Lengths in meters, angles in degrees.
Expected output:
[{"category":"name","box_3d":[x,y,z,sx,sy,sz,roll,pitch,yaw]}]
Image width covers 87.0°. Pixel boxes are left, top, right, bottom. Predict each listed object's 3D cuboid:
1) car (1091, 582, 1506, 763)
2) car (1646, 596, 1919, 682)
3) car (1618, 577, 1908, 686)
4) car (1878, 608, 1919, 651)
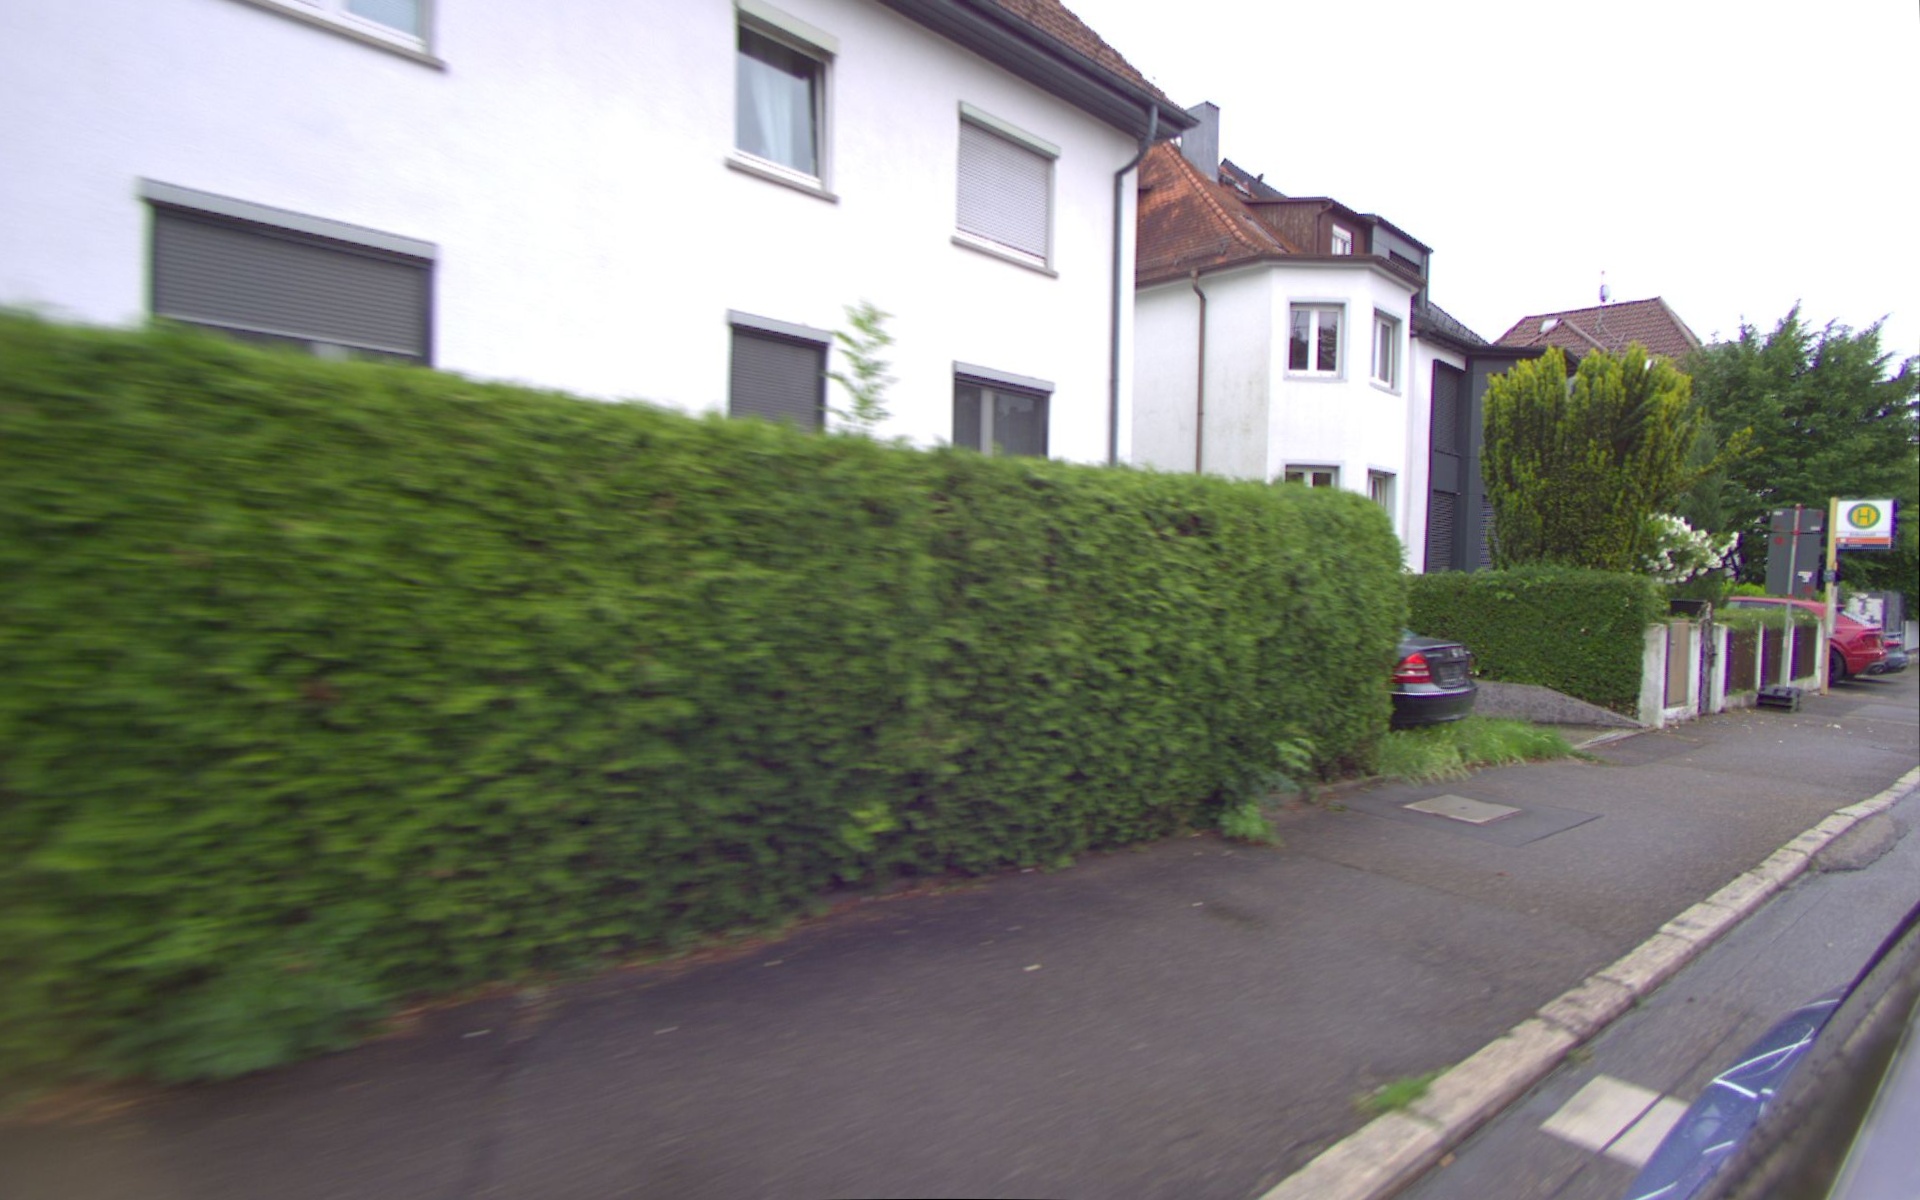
[{"category":"car","box_3d":[3.329,0.616,10.490,1.588,1.405,3.751,3,0,-41]},{"category":"car","box_3d":[18.008,0.772,22.226,4.550,1.434,1.968,5,3,45]},{"category":"car","box_3d":[15.795,0.540,20.222,4.042,1.772,1.985,4,2,23]},{"category":"car","box_3d":[43.903,1.347,45.305,1.740,1.883,3.994,1,0,-41]}]
